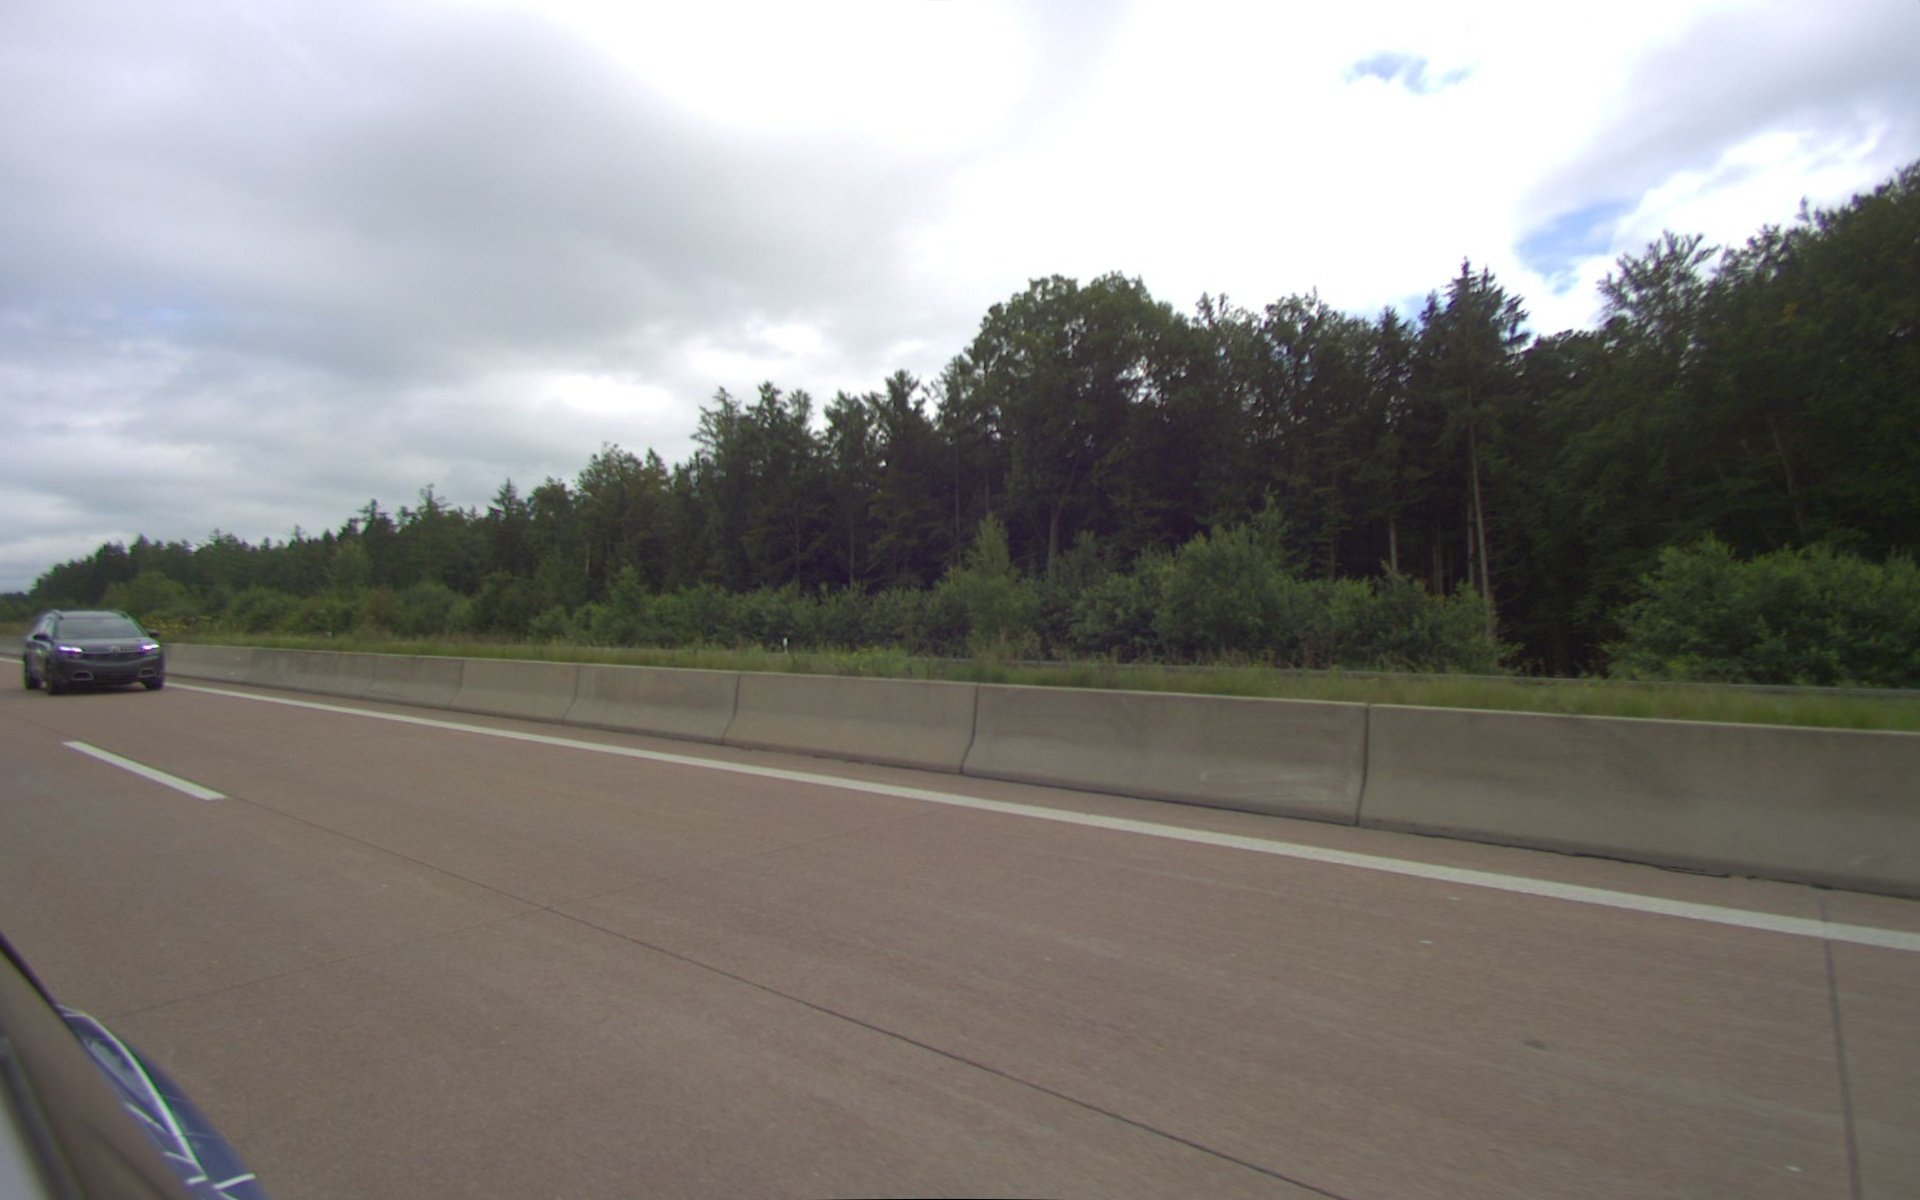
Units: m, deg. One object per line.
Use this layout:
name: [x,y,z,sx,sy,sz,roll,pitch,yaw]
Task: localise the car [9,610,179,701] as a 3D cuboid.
car: [-18.644,1.102,21.700,5.248,1.711,1.973,-1,-1,40]
